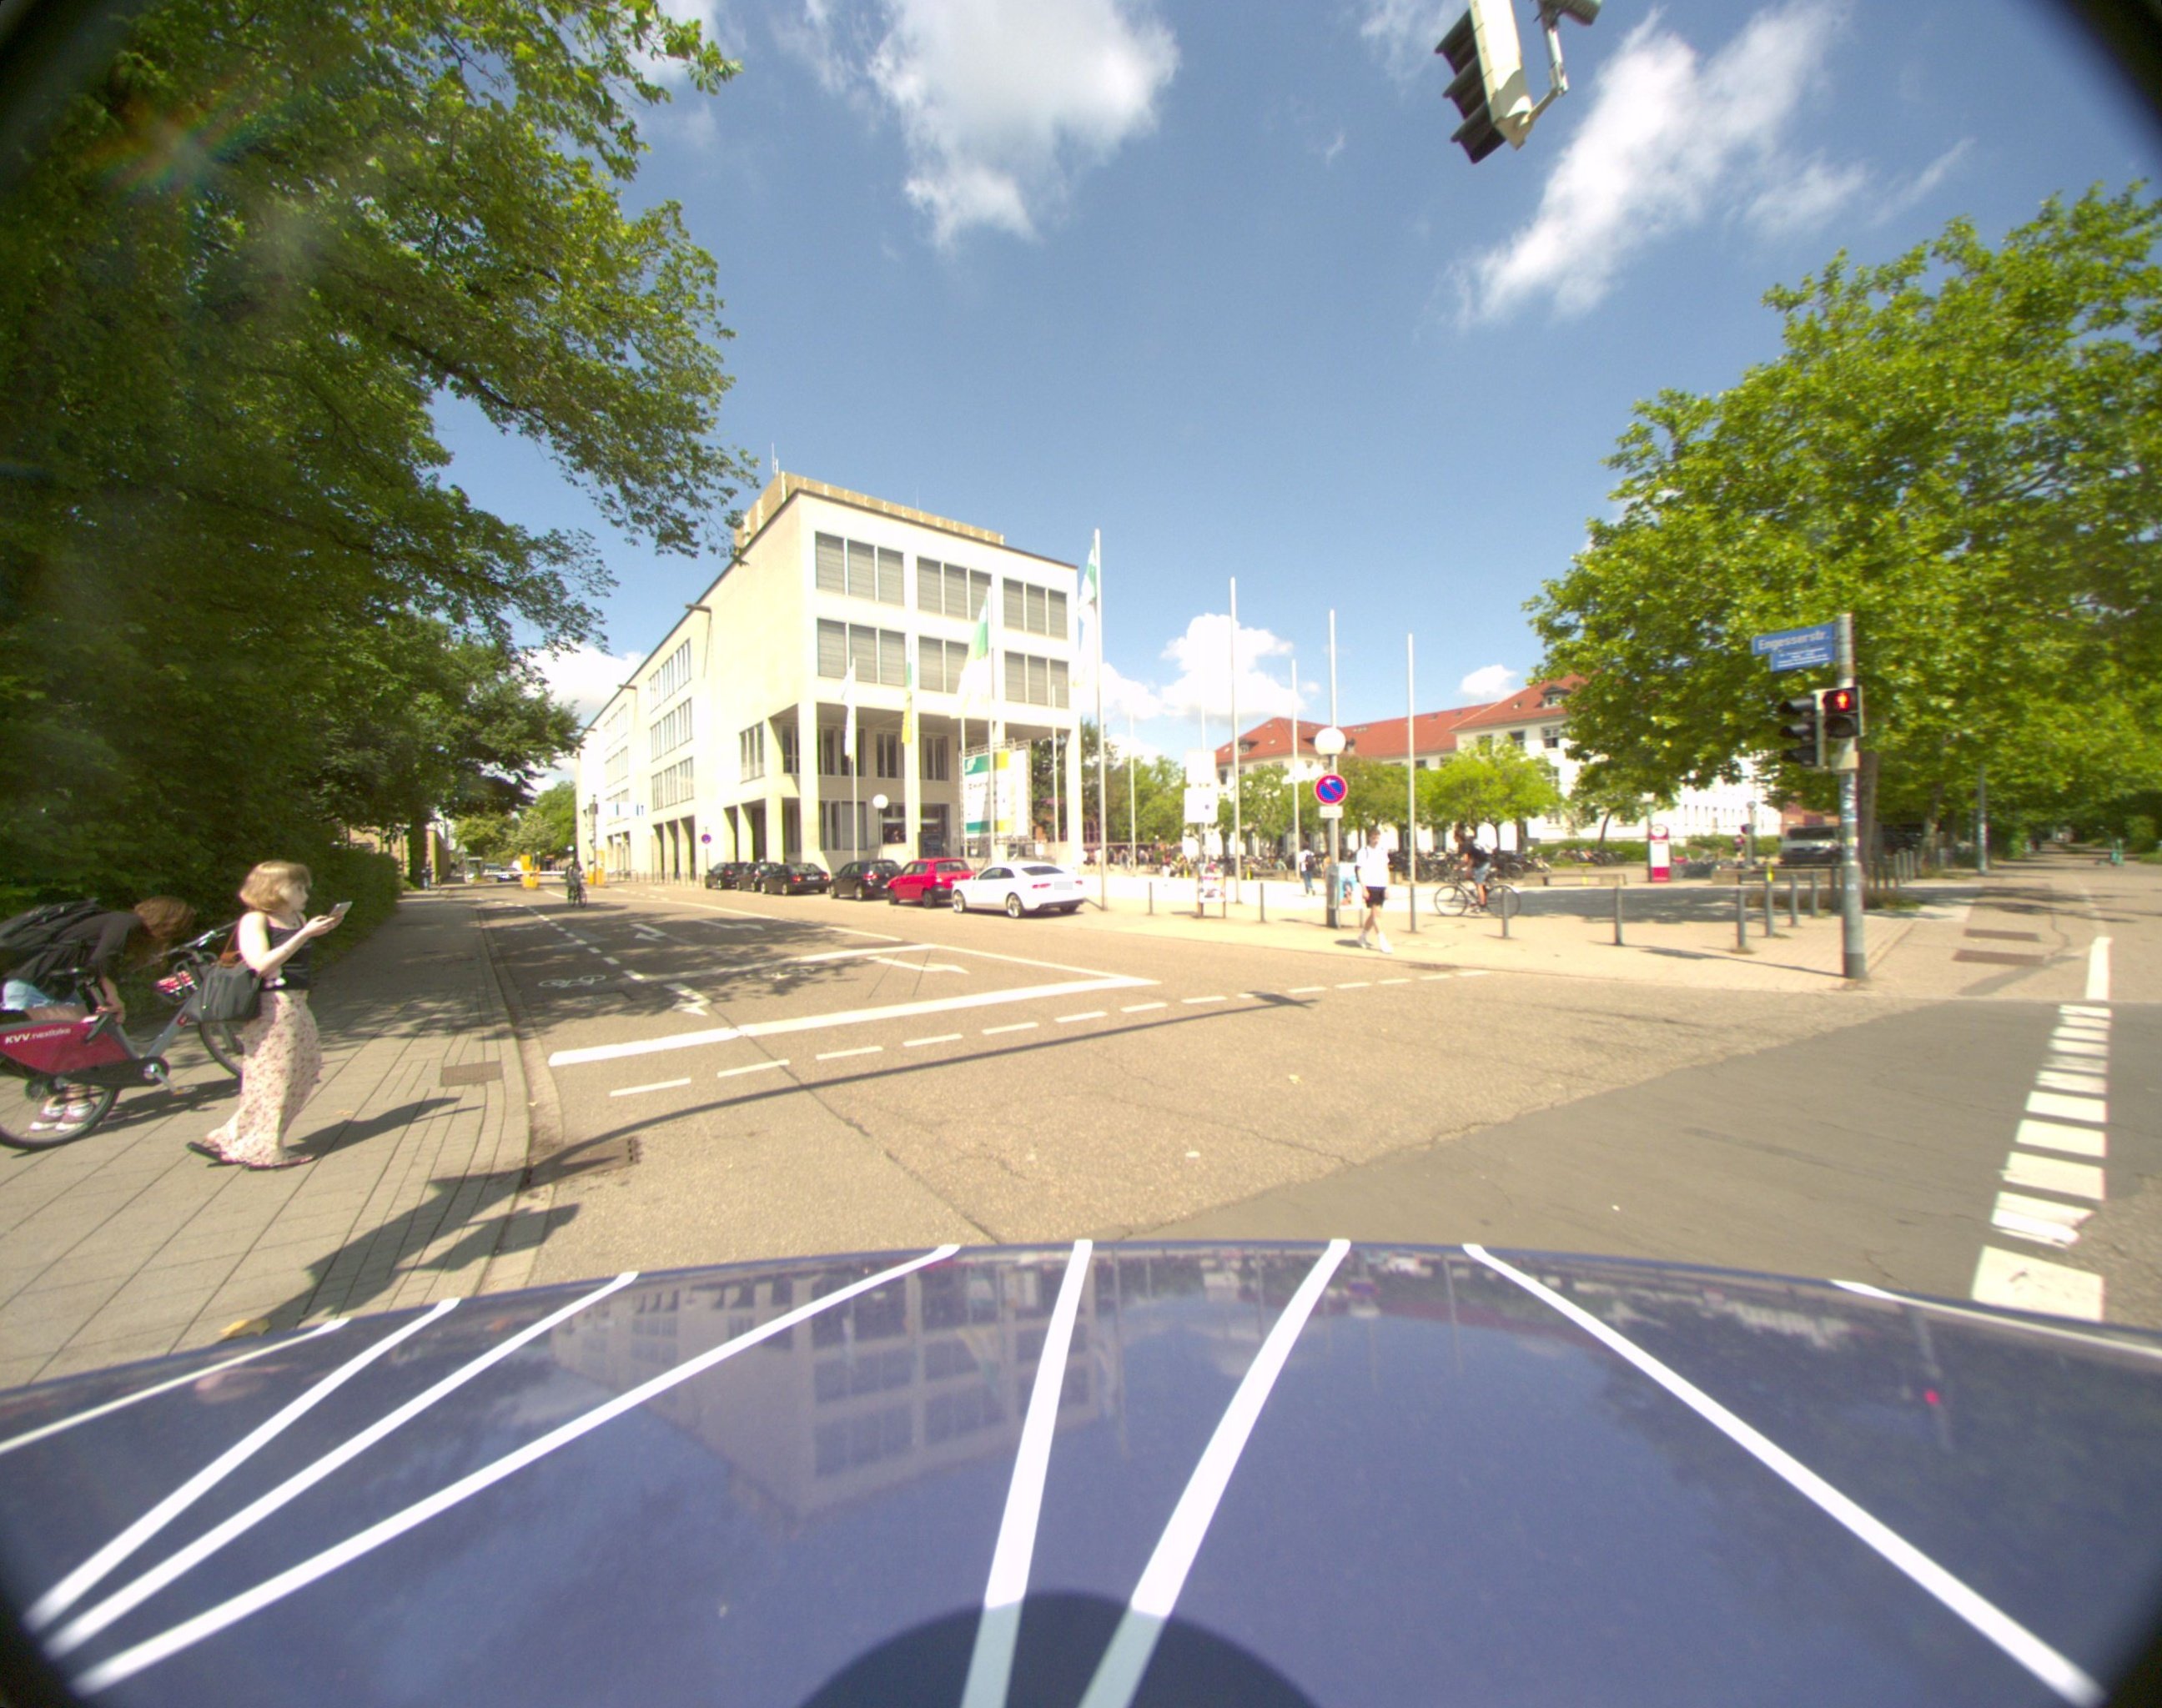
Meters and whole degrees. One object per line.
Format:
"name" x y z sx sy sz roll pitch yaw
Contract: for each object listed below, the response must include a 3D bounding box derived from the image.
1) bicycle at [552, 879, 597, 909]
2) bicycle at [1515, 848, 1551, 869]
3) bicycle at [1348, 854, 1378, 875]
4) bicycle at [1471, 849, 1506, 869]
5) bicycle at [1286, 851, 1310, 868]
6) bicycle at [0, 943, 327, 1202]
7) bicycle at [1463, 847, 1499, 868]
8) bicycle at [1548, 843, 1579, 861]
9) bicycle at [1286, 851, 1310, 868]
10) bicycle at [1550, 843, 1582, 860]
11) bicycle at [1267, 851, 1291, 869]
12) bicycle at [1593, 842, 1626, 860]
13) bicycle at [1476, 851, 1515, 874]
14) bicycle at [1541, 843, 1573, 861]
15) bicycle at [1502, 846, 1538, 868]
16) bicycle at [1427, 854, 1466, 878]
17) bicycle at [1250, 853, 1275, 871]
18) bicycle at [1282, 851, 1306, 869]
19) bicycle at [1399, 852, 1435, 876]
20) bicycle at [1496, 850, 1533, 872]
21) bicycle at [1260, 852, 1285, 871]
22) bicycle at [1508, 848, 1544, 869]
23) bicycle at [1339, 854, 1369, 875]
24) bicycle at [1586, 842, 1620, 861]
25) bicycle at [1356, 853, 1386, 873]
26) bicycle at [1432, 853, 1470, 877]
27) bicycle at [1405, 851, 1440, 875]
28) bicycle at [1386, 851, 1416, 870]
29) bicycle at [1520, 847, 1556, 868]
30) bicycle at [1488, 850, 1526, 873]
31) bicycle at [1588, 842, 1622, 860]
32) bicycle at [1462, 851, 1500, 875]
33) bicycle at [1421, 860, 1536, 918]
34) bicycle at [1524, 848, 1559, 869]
"bicycle" -18.183 1.426 27.280 2.157 0.993 0.648 -2 1 37
"bicycle" 20.741 0.197 34.913 0.353 0.945 1.368 -2 1 -41
"bicycle" 13.165 0.483 35.452 0.353 0.945 1.368 -2 1 -32
"bicycle" 19.321 0.240 36.026 0.353 0.945 1.409 -2 1 -41
"bicycle" 12.110 0.306 42.361 0.353 0.945 1.368 -2 1 -32
"bicycle" -5.770 1.198 4.629 0.671 1.136 1.664 0 -1 1
"bicycle" 18.493 0.147 35.130 0.353 0.945 1.409 -2 1 -41
"bicycle" 26.744 -0.114 42.113 0.353 0.945 1.425 -2 1 -41
"bicycle" 12.276 0.320 42.981 0.353 0.945 1.368 -2 1 -32
"bicycle" 27.045 -0.129 42.401 0.353 0.945 1.425 -2 1 -41
"bicycle" 10.465 0.336 40.222 0.353 0.945 1.368 -2 1 -32
"bicycle" 28.550 -0.172 41.058 0.353 0.945 1.425 -2 1 -41
"bicycle" 17.444 0.356 32.010 0.353 0.945 1.368 -2 1 -41
"bicycle" 26.170 -0.088 41.767 0.353 0.945 1.425 -2 1 -41
"bicycle" 19.784 0.138 34.249 0.353 0.945 1.368 -2 1 -41
"bicycle" 14.857 0.472 30.912 0.353 0.945 1.368 -2 1 -41
"bicycle" 9.444 0.423 39.608 0.353 0.945 1.368 -2 1 -32
"bicycle" 11.739 0.332 41.930 0.353 0.945 1.368 -2 1 -32
"bicycle" 14.604 0.429 33.053 0.353 0.995 1.368 -2 1 -41
"bicycle" 19.303 0.297 33.812 0.353 0.945 1.368 -3 1 -41
"bicycle" 10.051 0.393 39.920 0.353 0.945 1.368 -2 1 -32
"bicycle" 20.304 0.211 34.660 0.353 0.945 1.368 -2 1 -41
"bicycle" 12.706 0.502 35.342 0.353 0.945 1.368 -2 1 -32
"bicycle" 27.715 -0.132 40.349 0.353 0.945 1.425 -2 1 -41
"bicycle" 13.633 0.430 35.761 0.353 0.945 1.368 -2 1 -32
"bicycle" 15.253 0.447 31.335 0.353 0.941 1.368 -2 1 -41
"bicycle" 14.995 0.403 33.377 0.353 0.995 1.368 -2 1 -41
"bicycle" 16.114 0.338 38.293 0.353 0.945 1.368 -2 1 -44
"bicycle" 21.146 0.178 35.199 0.353 0.945 1.368 -2 1 -41
"bicycle" 18.105 0.327 32.305 0.353 0.945 1.368 -2 1 -41
"bicycle" 28.082 -0.150 40.710 0.353 0.945 1.425 -2 1 -41
"bicycle" 16.772 0.383 31.891 0.353 0.945 1.368 -2 1 -41
"bicycle" 8.329 0.704 16.021 0.691 1.127 2.049 -2 0 -35
"bicycle" 21.605 0.229 35.653 0.353 0.945 1.368 -2 1 -41
